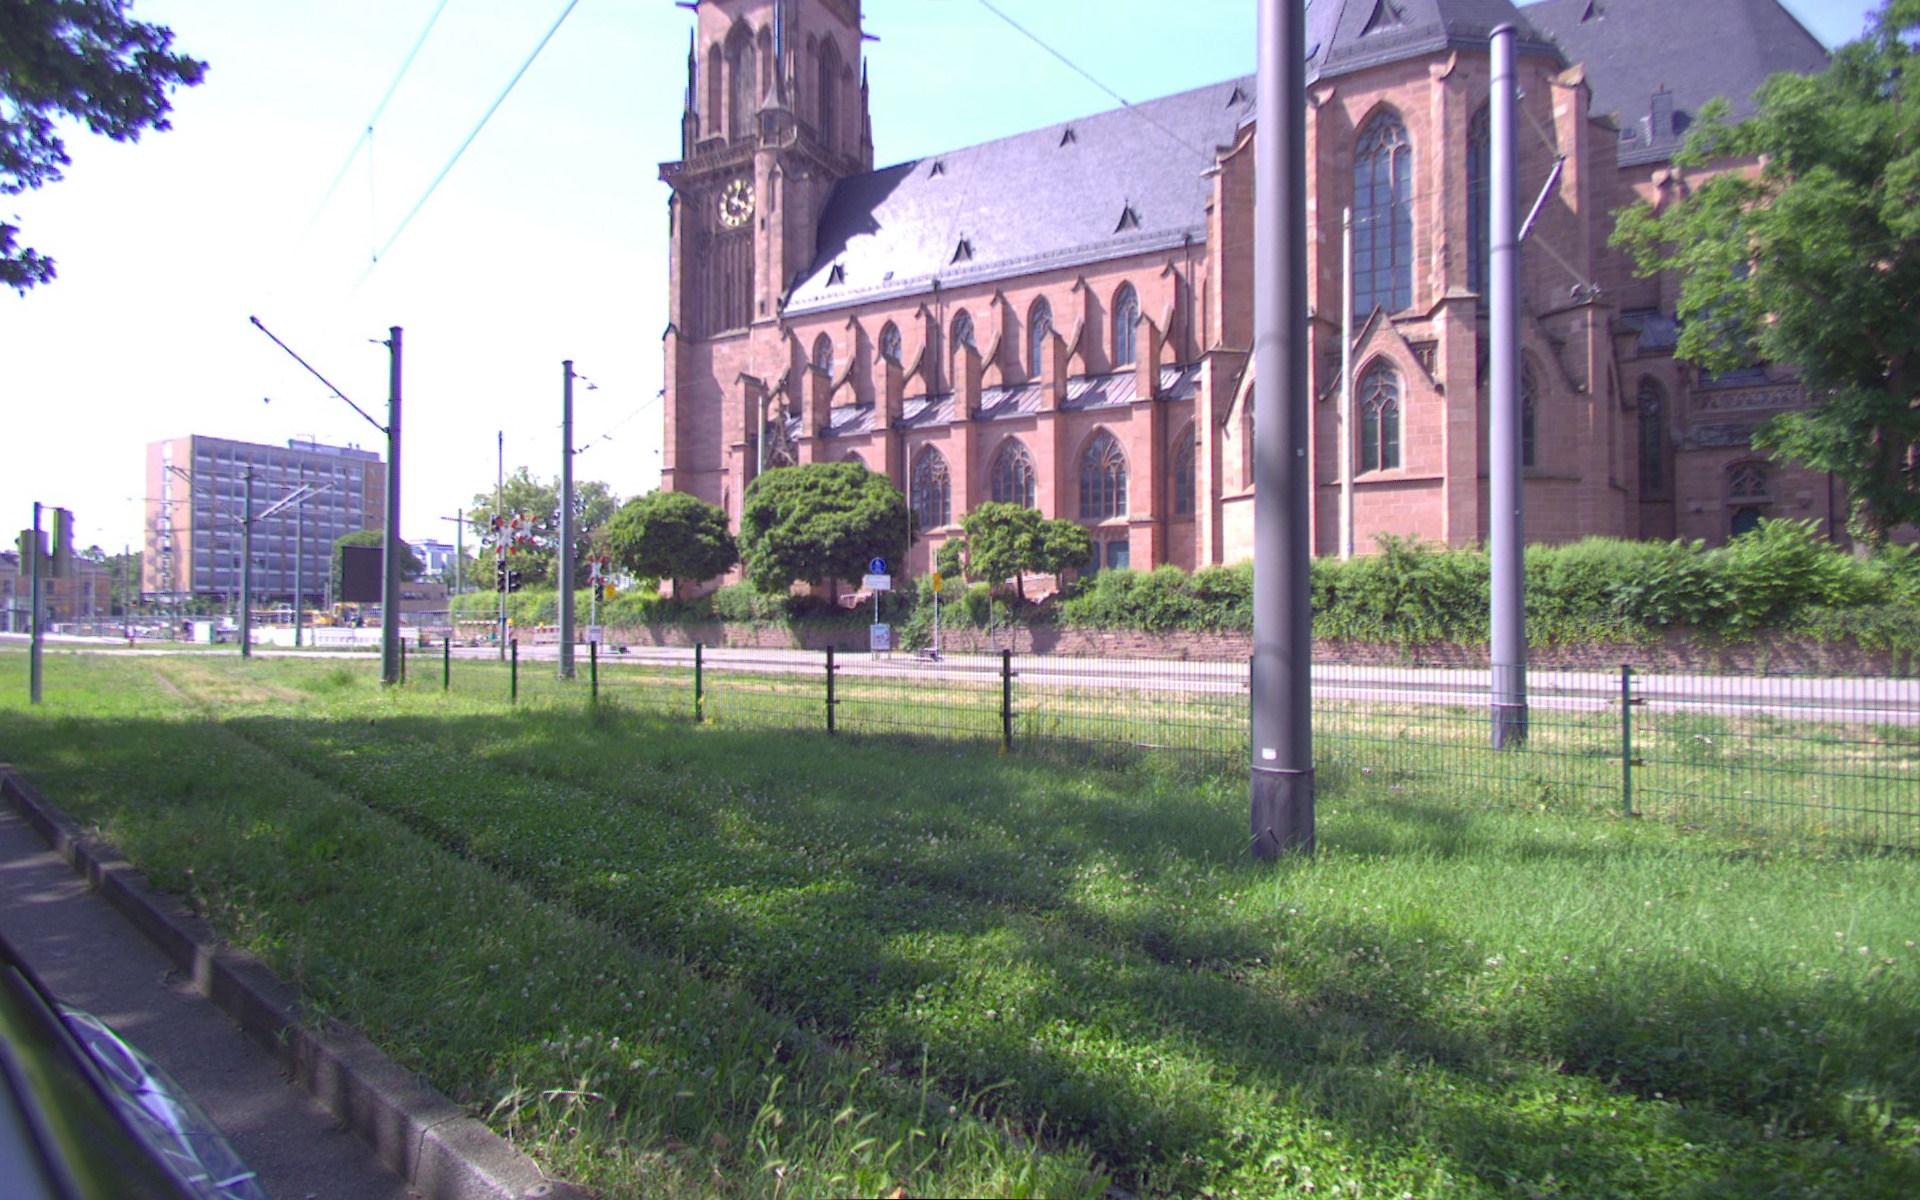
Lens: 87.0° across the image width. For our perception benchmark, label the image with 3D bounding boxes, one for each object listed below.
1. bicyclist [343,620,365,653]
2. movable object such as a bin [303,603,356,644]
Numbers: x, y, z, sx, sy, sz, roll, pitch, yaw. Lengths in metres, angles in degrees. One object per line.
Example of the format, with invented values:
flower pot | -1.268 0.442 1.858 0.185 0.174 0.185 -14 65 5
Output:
bicyclist | -33.001 1.980 55.087 0.786 1.775 0.643 0 -2 11
movable object such as a bin | -60.782 2.270 97.639 2.903 3.911 3.328 0 -2 7
